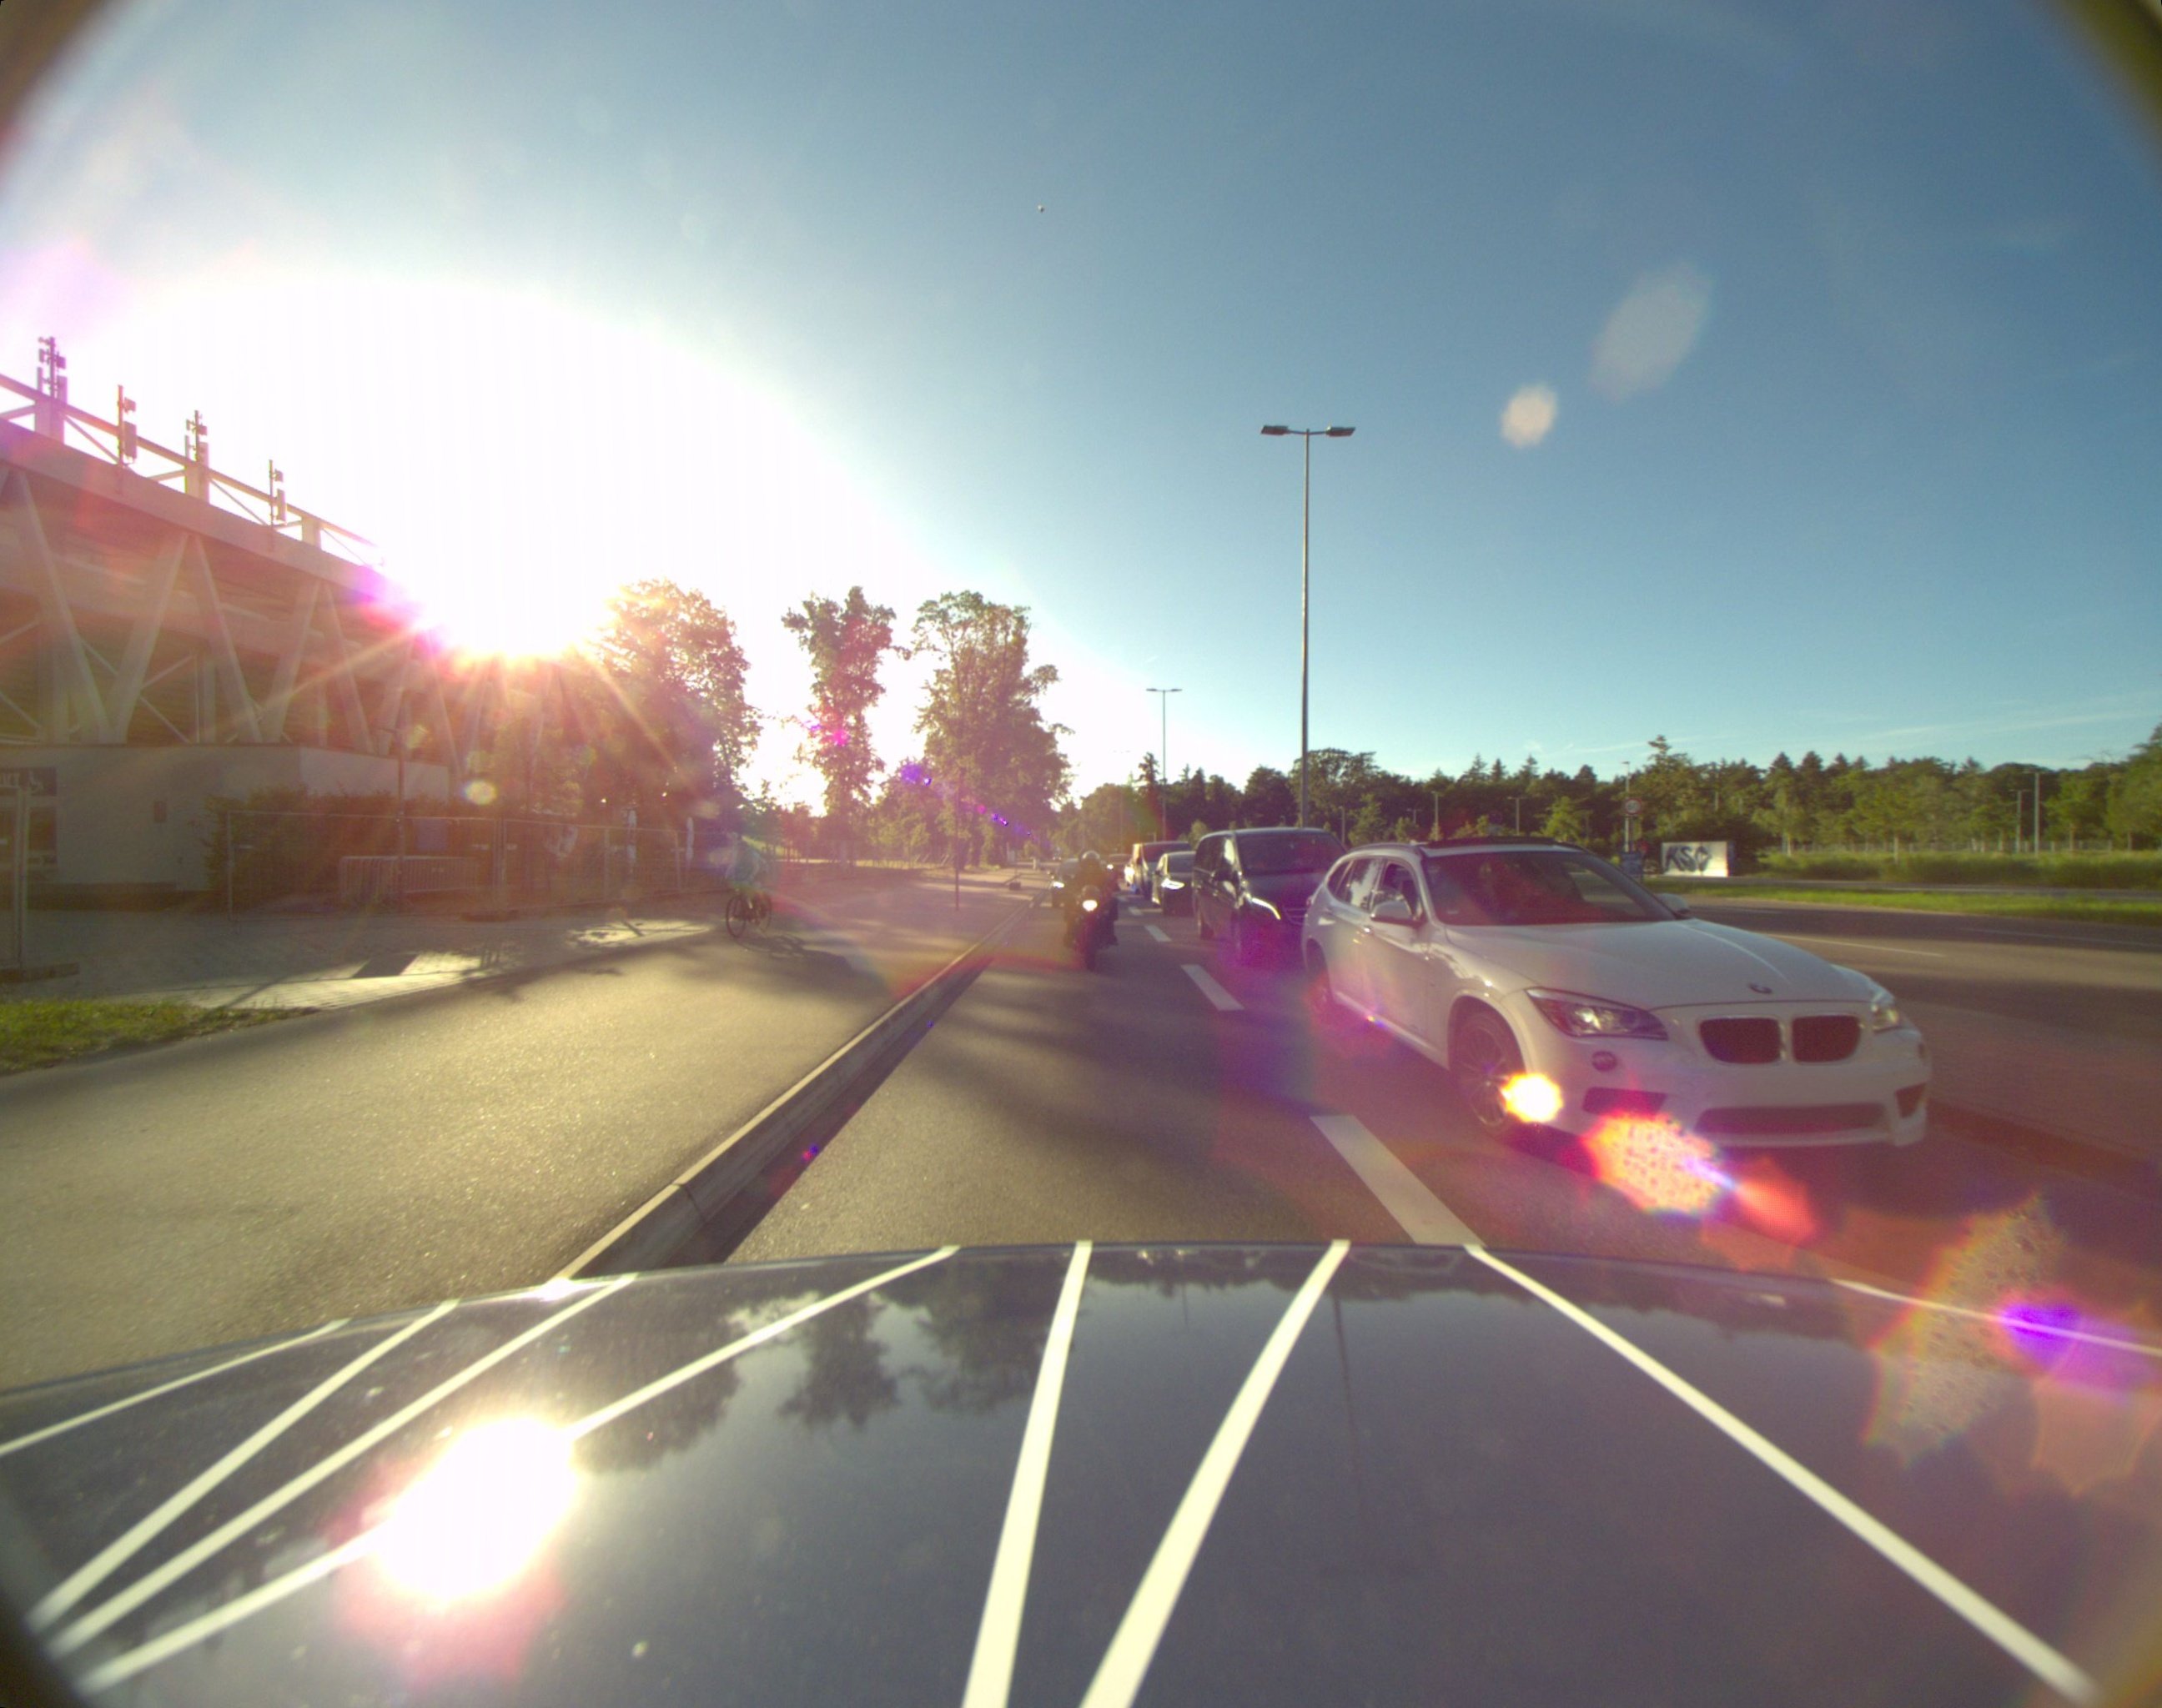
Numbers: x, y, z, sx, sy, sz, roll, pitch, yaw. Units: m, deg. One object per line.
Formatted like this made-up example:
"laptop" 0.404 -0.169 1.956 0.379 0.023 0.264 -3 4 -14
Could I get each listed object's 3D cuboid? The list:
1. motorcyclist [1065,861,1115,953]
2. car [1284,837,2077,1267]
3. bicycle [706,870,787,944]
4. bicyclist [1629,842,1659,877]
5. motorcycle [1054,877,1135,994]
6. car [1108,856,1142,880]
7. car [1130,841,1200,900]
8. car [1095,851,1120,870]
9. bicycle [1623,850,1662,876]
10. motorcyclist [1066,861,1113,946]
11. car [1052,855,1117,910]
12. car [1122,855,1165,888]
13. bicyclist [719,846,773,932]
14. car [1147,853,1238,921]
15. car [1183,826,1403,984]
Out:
"motorcyclist" 0.131 0.747 11.122 0.671 1.257 0.826 -2 1 1
"car" 2.858 0.742 5.033 1.797 1.574 4.320 -2 0 -1
"bicycle" -5.810 0.887 13.306 0.555 1.131 1.864 1 1 1
"bicyclist" 22.743 0.211 30.692 0.593 1.405 0.800 -2 1 2
"motorcycle" 0.172 1.011 10.464 0.916 1.243 2.962 -2 0 1
"car" 2.892 0.883 50.805 1.896 1.389 4.639 -2 1 -1
"car" 2.946 0.531 27.622 1.867 1.882 5.067 -2 0 0
"car" 2.282 0.514 66.395 1.896 1.479 4.639 -2 1 -1
"bicycle" 22.804 0.368 30.891 0.584 1.013 1.362 -2 1 1
"motorcyclist" 0.140 0.756 11.987 0.671 1.257 0.826 -2 1 1
"car" 0.088 0.857 24.909 1.867 1.538 4.795 -2 0 0
"car" 2.944 0.774 36.445 1.605 1.389 4.639 -2 1 0
"bicyclist" -5.810 0.586 13.206 0.521 1.460 0.861 0 1 1
"car" 2.822 0.779 20.109 1.736 1.560 4.103 -2 0 -1
"car" 2.917 0.610 11.797 1.885 1.862 5.234 -2 0 0
